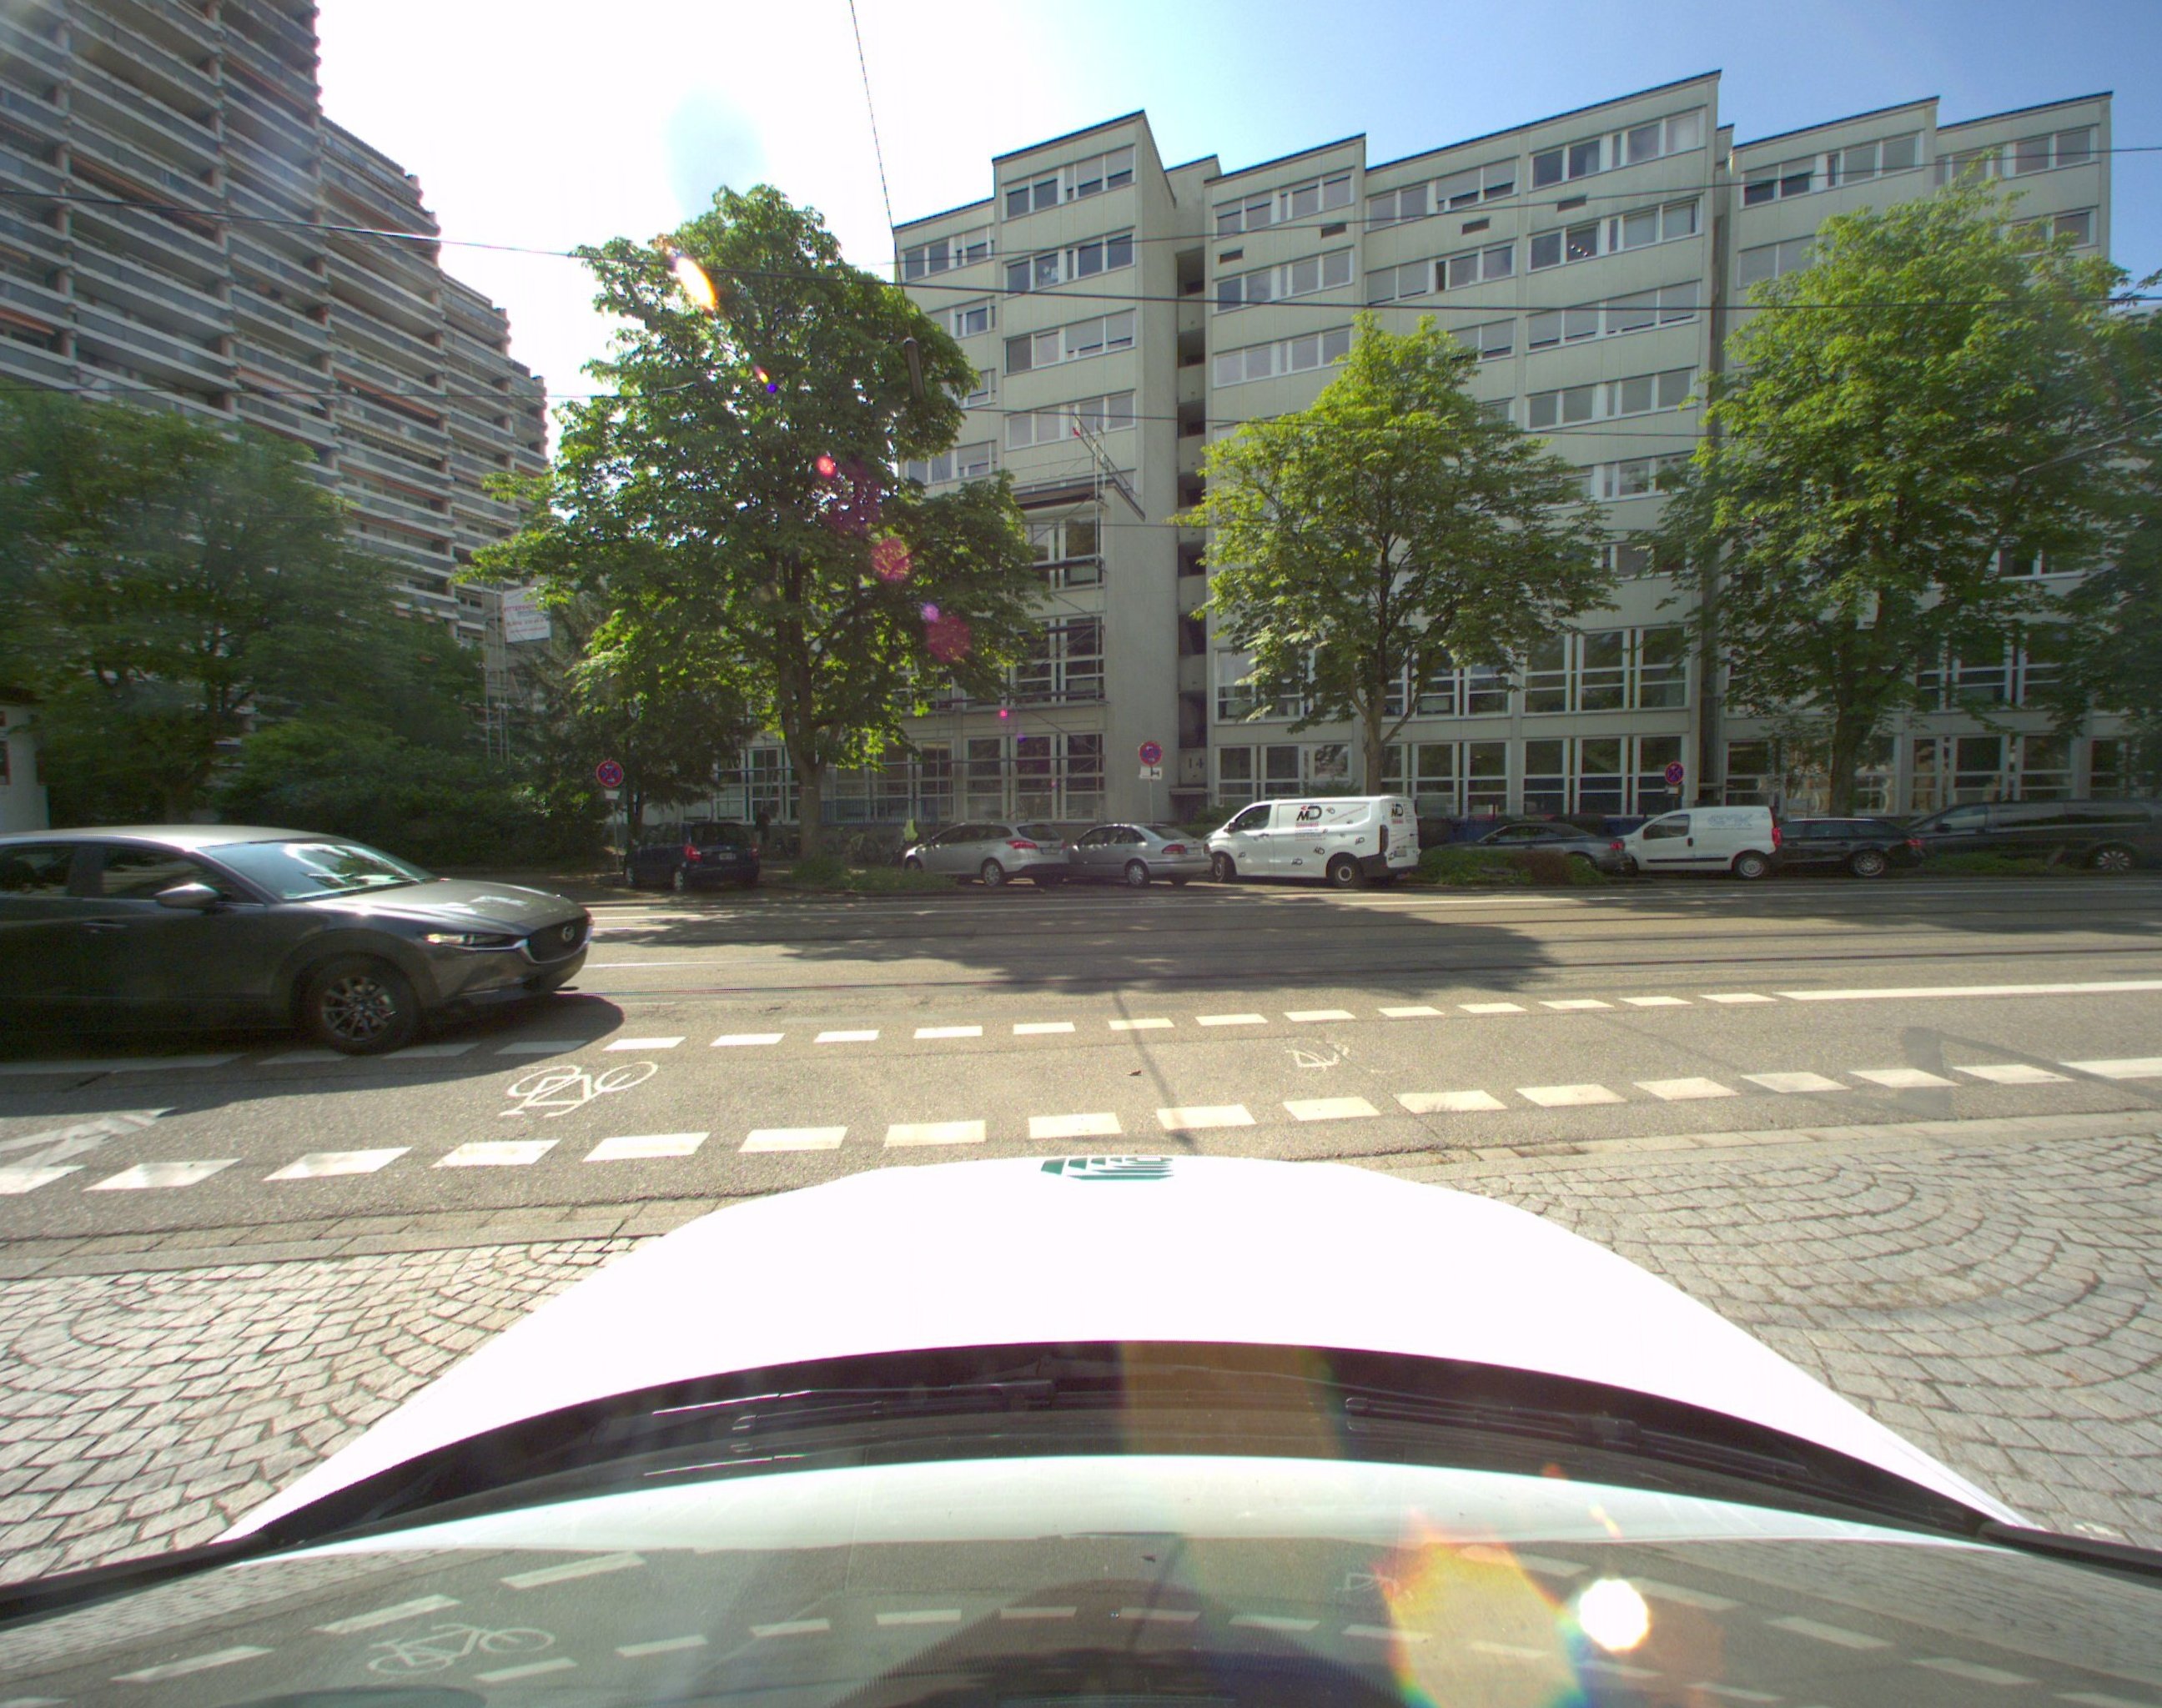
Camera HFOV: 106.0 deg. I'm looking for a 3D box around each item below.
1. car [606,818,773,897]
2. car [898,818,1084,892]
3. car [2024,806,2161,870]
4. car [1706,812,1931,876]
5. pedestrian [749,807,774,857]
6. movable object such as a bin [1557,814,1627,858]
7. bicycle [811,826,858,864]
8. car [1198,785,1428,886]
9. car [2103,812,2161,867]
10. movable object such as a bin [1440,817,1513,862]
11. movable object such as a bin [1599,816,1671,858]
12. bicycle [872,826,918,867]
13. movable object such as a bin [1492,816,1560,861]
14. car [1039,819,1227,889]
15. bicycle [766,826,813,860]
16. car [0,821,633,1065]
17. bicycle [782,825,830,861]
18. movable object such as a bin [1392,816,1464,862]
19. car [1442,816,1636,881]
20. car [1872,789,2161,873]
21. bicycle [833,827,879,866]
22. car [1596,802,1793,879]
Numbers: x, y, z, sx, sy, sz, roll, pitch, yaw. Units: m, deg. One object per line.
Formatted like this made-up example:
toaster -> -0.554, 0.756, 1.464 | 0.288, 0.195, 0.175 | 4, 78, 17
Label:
car -> -8.592, 0.000, 17.757 | 3.836, 1.523, 1.754 | 2, 4, 39
car -> -2.136, -0.046, 18.685 | 4.139, 1.500, 1.834 | 1, 3, 39
car -> 27.556, -0.407, 21.029 | 3.949, 1.593, 1.752 | 0, 0, 41
car -> 17.849, -0.223, 19.970 | 3.948, 1.417, 1.771 | 0, 0, 39
pedestrian -> -10.524, -0.724, 26.865 | 0.660, 1.623, 0.639 | 0, 3, -13
movable object such as a bin -> 15.882, -0.536, 25.341 | 1.435, 1.327, 1.165 | 0, -1, -7
bicycle -> -7.764, -0.291, 25.757 | 0.536, 1.113, 1.588 | -2, 2, 19
car -> 5.125, -0.448, 18.429 | 4.628, 1.997, 1.981 | 2, 3, 43
car -> 30.483, -0.410, 21.621 | 3.949, 1.484, 1.751 | 0, 0, 43
movable object such as a bin -> 12.248, -0.433, 25.285 | 1.534, 1.364, 1.387 | 0, -1, -9
movable object such as a bin -> 17.338, -0.518, 25.512 | 1.435, 1.283, 1.169 | 0, -1, -6
bicycle -> -5.666, -0.254, 24.892 | 0.536, 1.162, 1.588 | -2, 2, 19
movable object such as a bin -> 13.895, -0.478, 25.438 | 1.436, 1.380, 1.193 | 0, -1, -8
car -> 1.137, -0.068, 18.920 | 4.119, 1.449, 1.833 | 2, 3, 43
bicycle -> -9.626, -0.377, 26.949 | 0.536, 1.080, 1.589 | -2, 2, 19
car -> -6.111, 0.540, 6.180 | 4.331, 1.511, 1.792 | 0, 3, -7
bicycle -> -8.890, -0.369, 26.390 | 0.536, 1.092, 1.589 | -2, 2, 19
movable object such as a bin -> 10.617, -0.446, 25.002 | 1.534, 1.364, 1.387 | 0, -1, -9
car -> 11.063, -0.117, 19.759 | 3.948, 1.417, 1.733 | 0, 0, 33
car -> 24.105, -0.527, 21.033 | 5.102, 1.954, 1.929 | 0, 0, 39
bicycle -> -7.021, -0.254, 25.525 | 0.536, 1.121, 1.588 | -2, 2, 19
car -> 14.734, -0.300, 19.641 | 3.668, 1.693, 1.771 | 0, 0, 41
